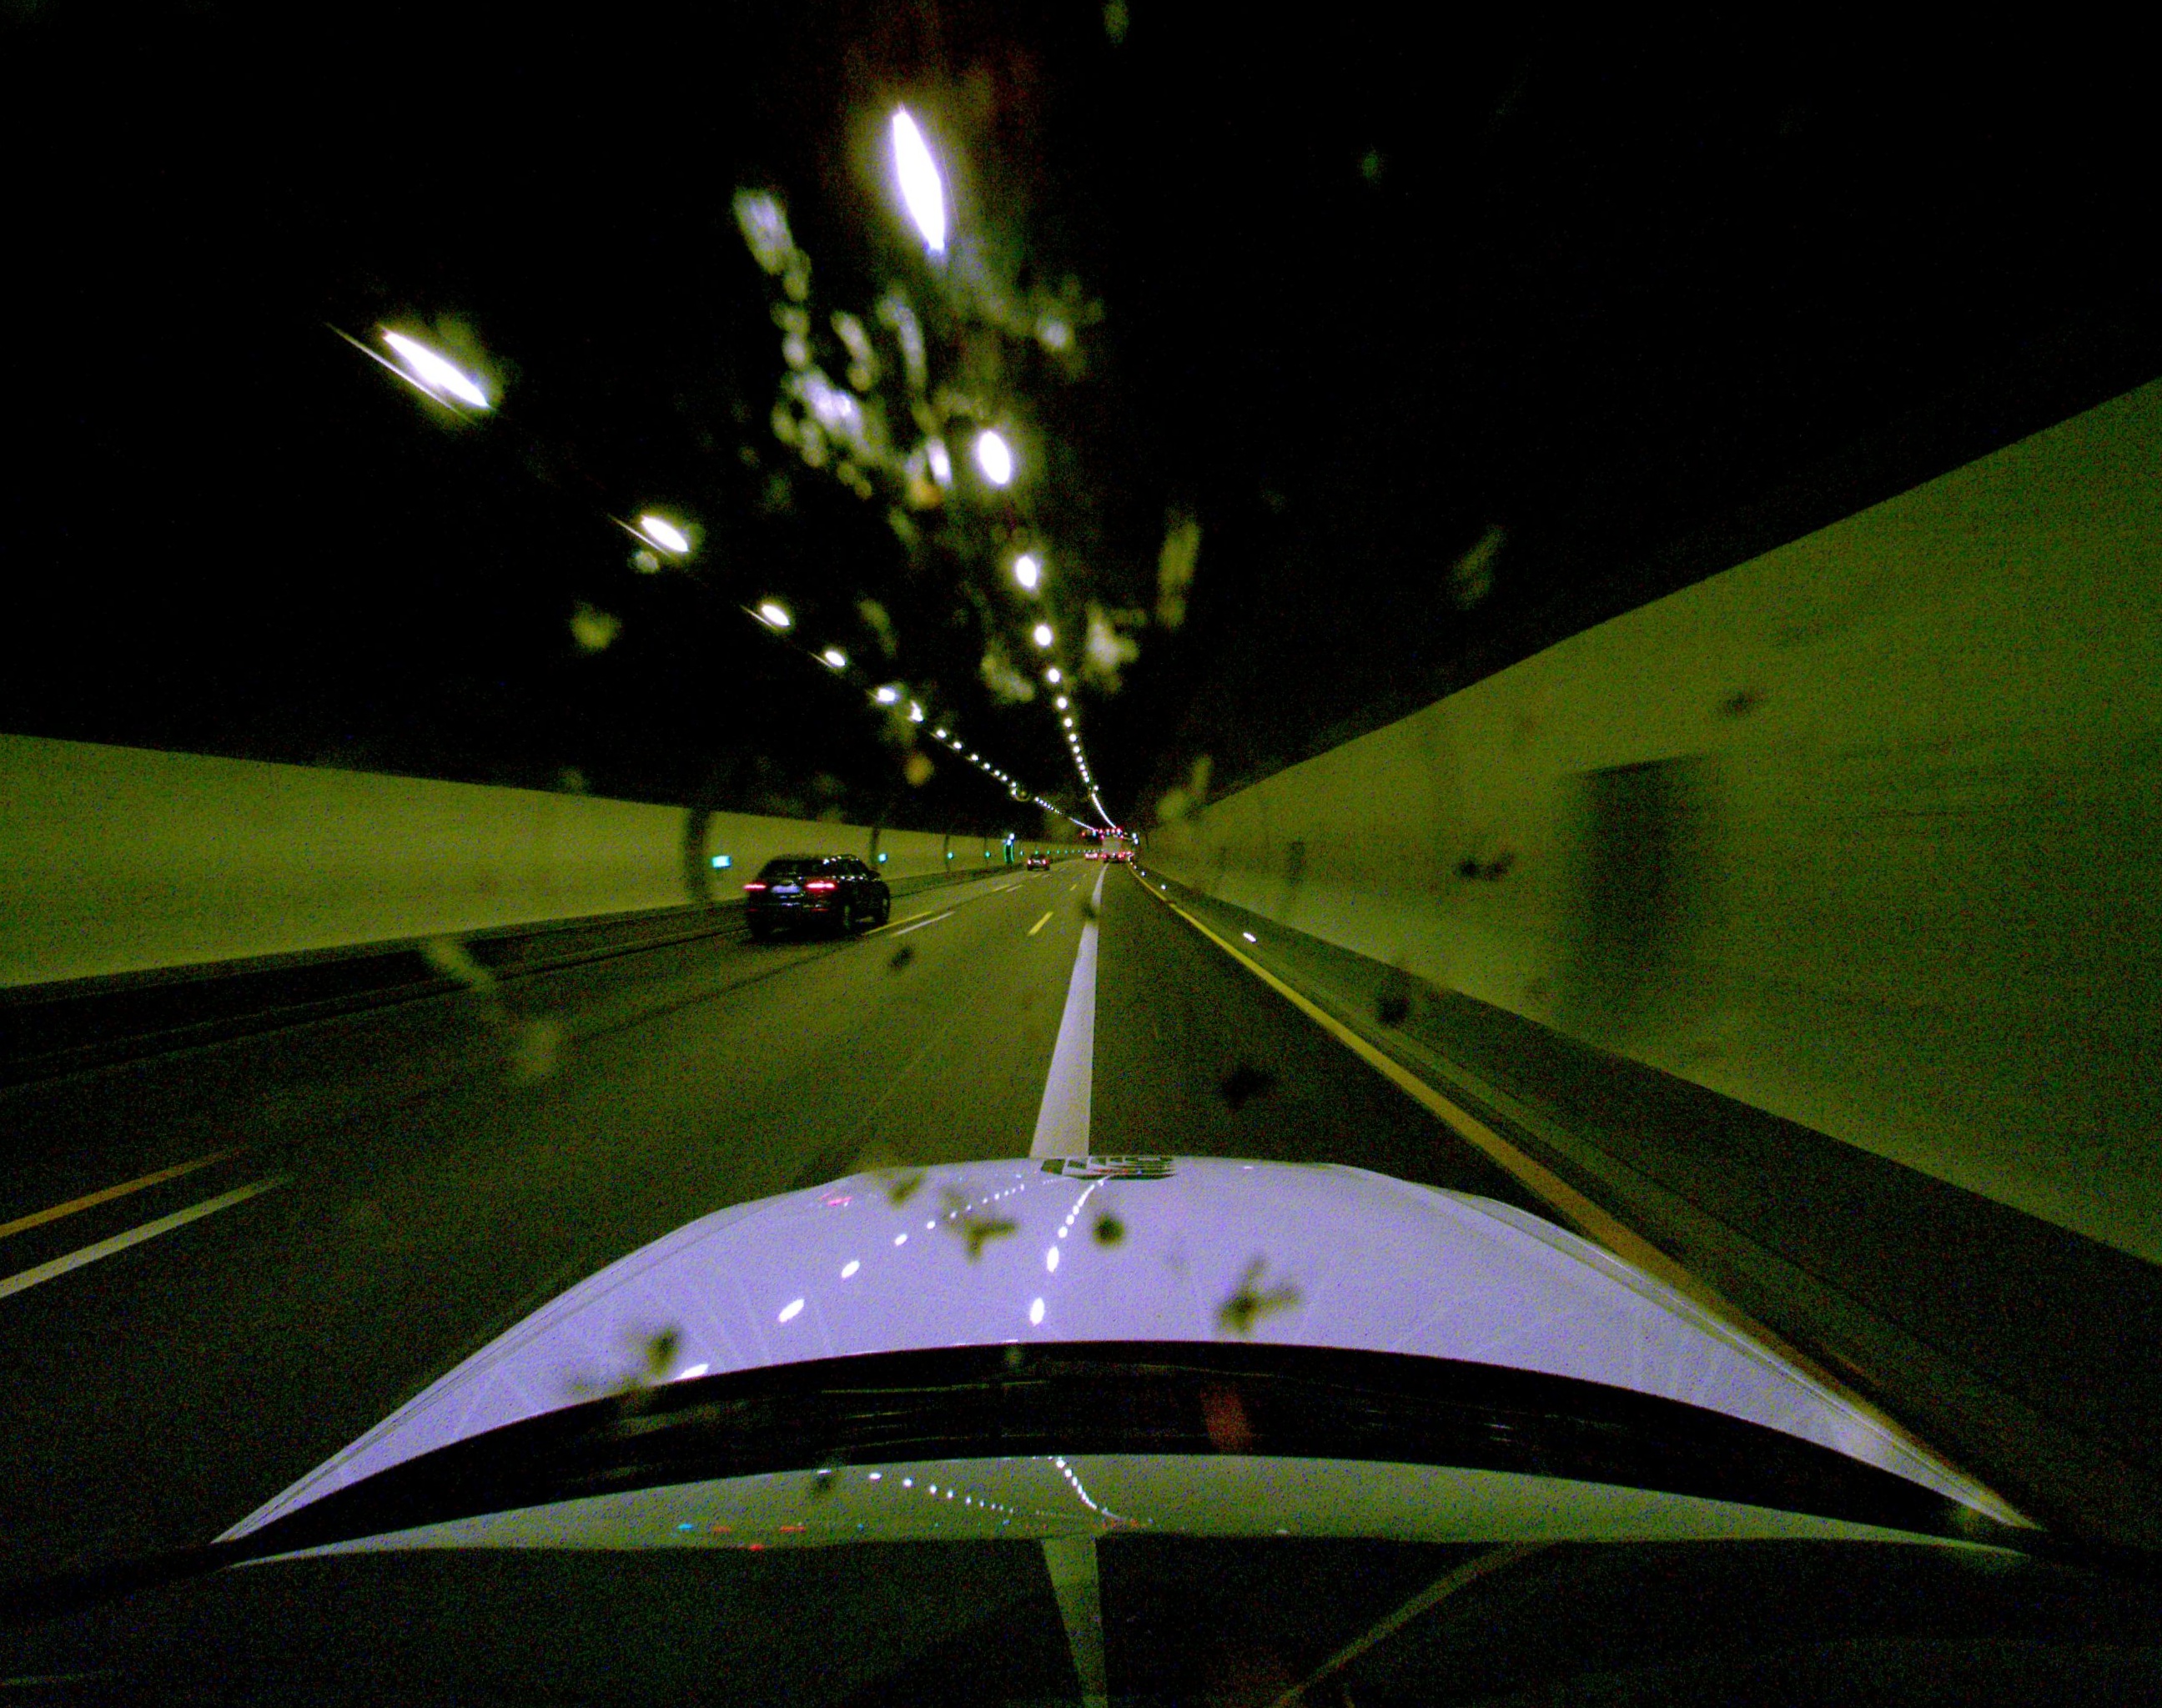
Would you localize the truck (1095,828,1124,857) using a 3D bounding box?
[{"bbox_3d":[3.772,-1.567,109.223,3.579,3.650,10.726,-1,1,2],"label":"truck"}]

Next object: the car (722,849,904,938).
[{"bbox_3d":[-5.191,0.680,16.595,1.986,1.540,4.744,-1,0,2],"label":"car"}]

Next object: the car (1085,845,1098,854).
[{"bbox_3d":[1.639,-0.724,128.261,1.986,1.412,4.744,-1,1,1],"label":"car"}]

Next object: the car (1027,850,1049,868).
[{"bbox_3d":[-3.644,0.417,69.937,1.684,1.417,3.921,-1,1,-1],"label":"car"}]
